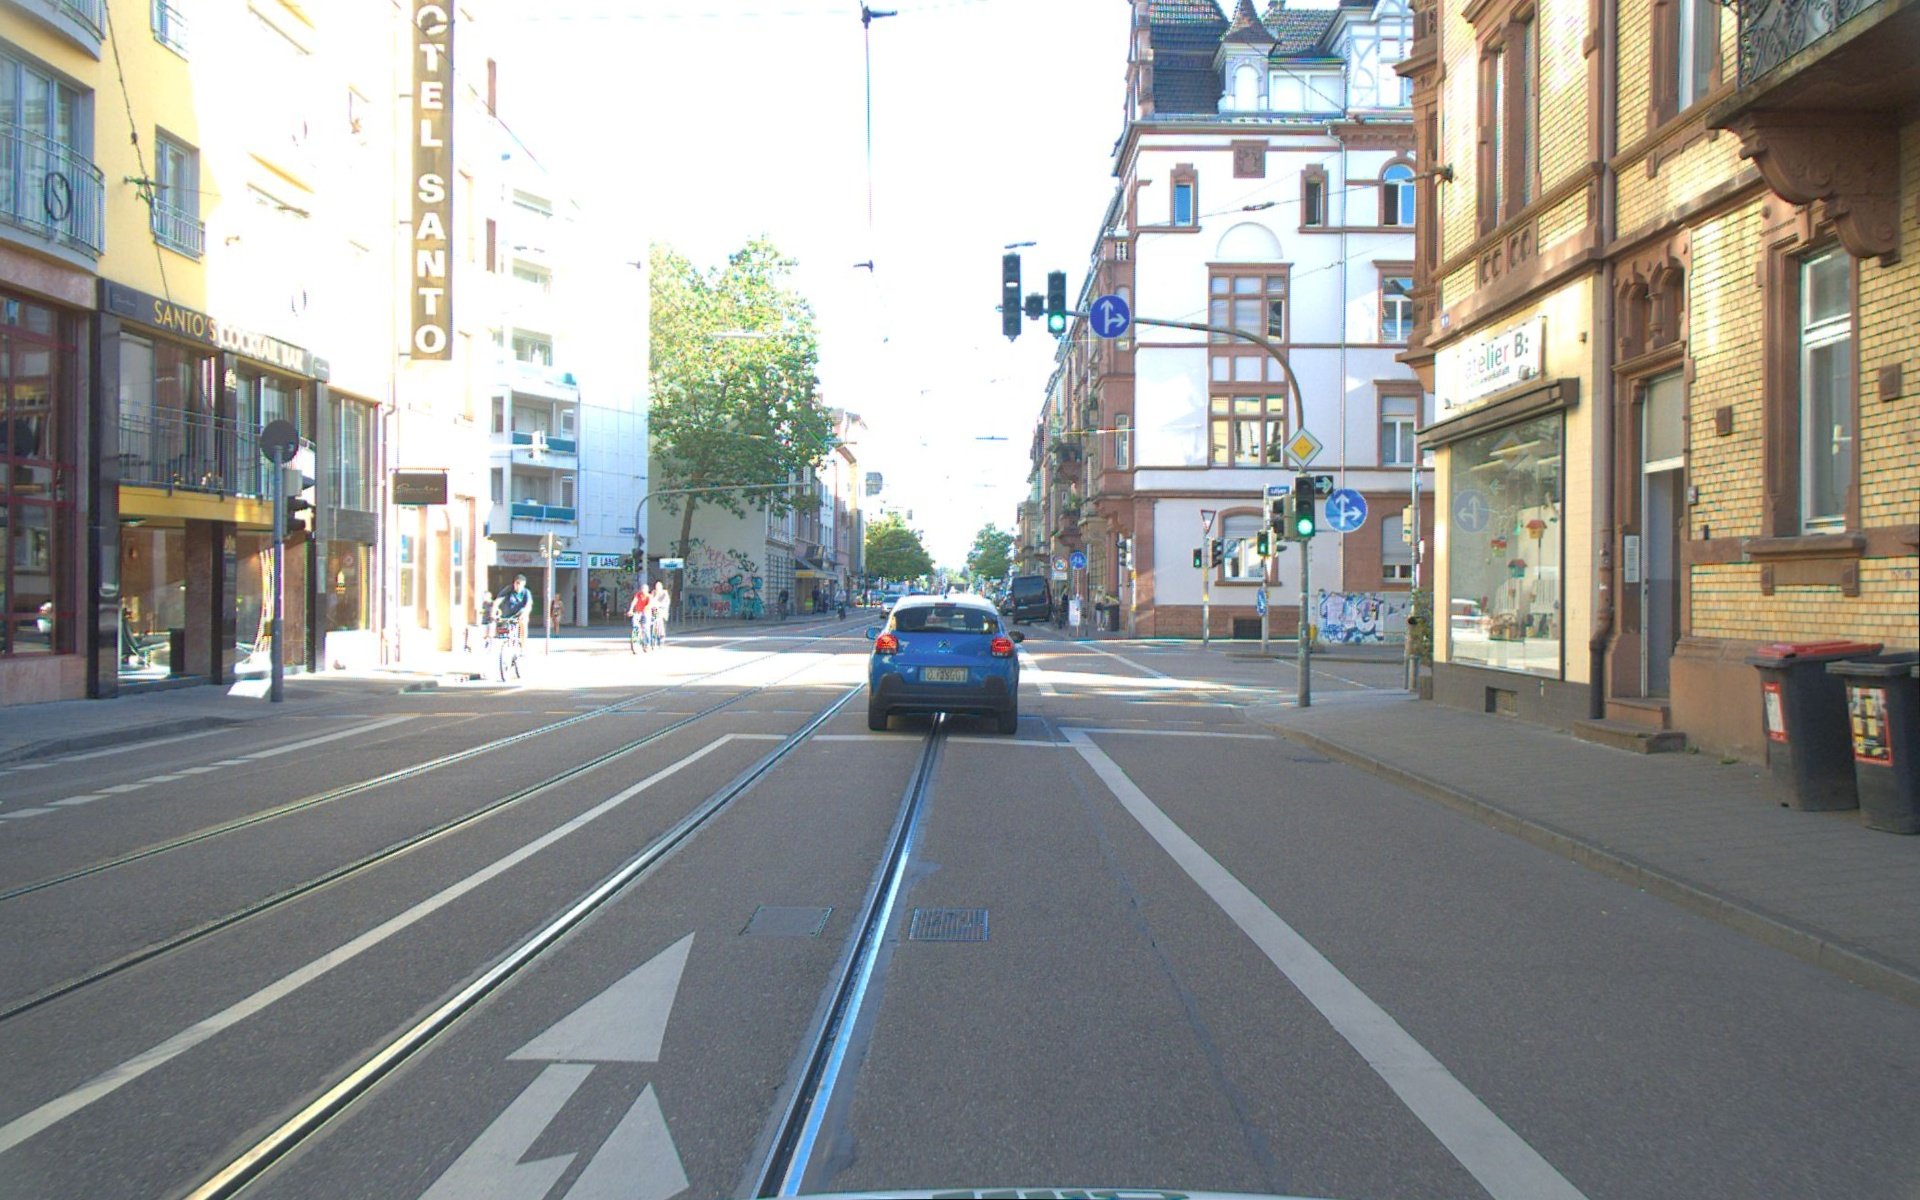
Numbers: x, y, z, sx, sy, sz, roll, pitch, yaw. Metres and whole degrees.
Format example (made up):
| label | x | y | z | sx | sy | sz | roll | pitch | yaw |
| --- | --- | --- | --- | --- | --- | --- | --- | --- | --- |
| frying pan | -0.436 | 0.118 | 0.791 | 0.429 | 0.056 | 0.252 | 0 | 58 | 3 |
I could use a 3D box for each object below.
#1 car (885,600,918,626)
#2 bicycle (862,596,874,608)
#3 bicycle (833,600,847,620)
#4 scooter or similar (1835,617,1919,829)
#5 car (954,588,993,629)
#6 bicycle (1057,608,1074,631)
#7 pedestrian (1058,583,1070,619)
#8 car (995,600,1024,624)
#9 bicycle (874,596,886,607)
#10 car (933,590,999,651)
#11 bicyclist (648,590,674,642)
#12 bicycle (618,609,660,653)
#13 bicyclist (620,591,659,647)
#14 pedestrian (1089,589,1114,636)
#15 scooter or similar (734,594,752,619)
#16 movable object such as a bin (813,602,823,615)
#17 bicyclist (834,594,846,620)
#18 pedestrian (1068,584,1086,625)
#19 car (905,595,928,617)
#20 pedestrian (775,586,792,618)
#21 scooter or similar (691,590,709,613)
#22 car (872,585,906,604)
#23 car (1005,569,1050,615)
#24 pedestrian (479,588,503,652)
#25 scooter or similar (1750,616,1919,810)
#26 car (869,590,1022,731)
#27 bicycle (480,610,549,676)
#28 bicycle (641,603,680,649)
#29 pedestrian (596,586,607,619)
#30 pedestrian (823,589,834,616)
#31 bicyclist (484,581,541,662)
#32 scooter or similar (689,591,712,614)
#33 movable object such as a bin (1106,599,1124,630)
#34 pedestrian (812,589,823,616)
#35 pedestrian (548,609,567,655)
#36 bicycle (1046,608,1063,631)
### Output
| label | x | y | z | sx | sy | sz | roll | pitch | yaw |
| --- | --- | --- | --- | --- | --- | --- | --- | --- | --- |
| car | -3.579 | 0.782 | 101.400 | 1.945 | 1.528 | 4.308 | 0 | 0 | -1 |
| bicycle | -10.165 | 0.183 | 182.556 | 1.099 | 1.342 | 3.640 | 0 | 0 | -5 |
| bicycle | -6.909 | 0.564 | 95.293 | 0.678 | 1.140 | 2.083 | 0 | 0 | -1 |
| scooter or similar | 5.866 | 0.695 | 9.825 | 0.914 | 1.168 | 0.650 | -4 | 0 | -2 |
| car | 0.679 | 0.426 | 85.647 | 1.953 | 2.049 | 3.999 | 0 | 0 | -1 |
| bicycle | 4.492 | 0.827 | 70.612 | 0.423 | 0.964 | 1.761 | 0 | 0 | -7 |
| pedestrian | 5.990 | 0.042 | 95.285 | 0.573 | 2.049 | 0.823 | 0 | 0 | -1 |
| car | 3.513 | 0.833 | 118.283 | 1.964 | 1.702 | 4.805 | 0 | 0 | 0 |
| bicycle | -8.814 | 0.147 | 182.493 | 1.099 | 1.166 | 3.640 | 0 | 0 | -5 |
| car | 0.117 | 0.500 | 43.113 | 1.633 | 1.504 | 3.999 | 0 | 0 | -1 |
| bicyclist | -8.164 | 0.438 | 45.171 | 0.578 | 1.400 | 0.679 | 0 | 0 | -1 |
| bicycle | -8.189 | 0.772 | 42.278 | 0.716 | 1.084 | 2.061 | 0 | 0 | -1 |
| bicyclist | -8.191 | 0.479 | 42.307 | 0.720 | 1.405 | 1.468 | 0 | 0 | -1 |
| pedestrian | 5.706 | 0.497 | 66.592 | 0.692 | 1.811 | 0.672 | -8 | 0 | -1 |
| scooter or similar | -11.901 | 0.337 | 90.756 | 0.772 | 1.294 | 1.075 | 2 | 1 | -1 |
| movable object such as a bin | -9.580 | 0.576 | 111.899 | 0.598 | 0.930 | 0.695 | 0 | 0 | 0 |
| bicyclist | -6.922 | 0.399 | 95.369 | 0.668 | 1.509 | 0.778 | 0 | 0 | -1 |
| pedestrian | 5.008 | 0.176 | 70.713 | 0.615 | 1.731 | 0.681 | 0 | 0 | -9 |
| car | -3.683 | 0.495 | 140.800 | 1.953 | 1.774 | 4.562 | 0 | 0 | -1 |
| pedestrian | -9.841 | 0.105 | 92.374 | 0.668 | 1.796 | 1.026 | 0 | 0 | 11 |
| scooter or similar | -14.275 | 0.091 | 90.873 | 0.921 | 1.243 | 0.765 | 0 | 0 | -12 |
| car | -9.948 | -0.823 | 231.152 | 4.255 | 2.626 | 2.191 | 0 | 0 | -26 |
| car | 3.685 | -0.425 | 90.929 | 2.225 | 2.479 | 5.719 | 0 | 0 | 0 |
| pedestrian | -10.539 | 0.446 | 37.205 | 0.395 | 1.435 | 0.516 | 0 | 0 | -1 |
| scooter or similar | 5.817 | 0.727 | 10.899 | 0.879 | 1.168 | 0.547 | -4 | 0 | -2 |
| car | -0.234 | 0.639 | 19.692 | 1.640 | 1.503 | 3.998 | 0 | 0 | -2 |
| bicycle | -7.991 | 0.753 | 29.754 | 0.716 | 1.107 | 2.061 | 0 | 0 | -1 |
| bicycle | -8.147 | 0.695 | 45.009 | 0.716 | 1.204 | 2.061 | 0 | 0 | -1 |
| pedestrian | -19.322 | 0.147 | 89.190 | 0.446 | 1.748 | 0.547 | 0 | 0 | -1 |
| pedestrian | -8.834 | 0.178 | 111.231 | 0.696 | 1.795 | 0.654 | 0 | 0 | -2 |
| bicyclist | -7.985 | 0.378 | 29.554 | 0.709 | 1.405 | 1.227 | 0 | 0 | -1 |
| scooter or similar | -14.035 | 0.134 | 89.357 | 1.206 | 1.280 | 0.765 | 0 | 0 | -12 |
| movable object such as a bin | 6.082 | 0.564 | 64.859 | 0.652 | 1.174 | 0.594 | 0 | 0 | 1 |
| pedestrian | -9.609 | 0.156 | 111.172 | 0.696 | 1.795 | 0.570 | 0 | 0 | -1 |
| pedestrian | -13.982 | 1.121 | 57.435 | 0.531 | 1.579 | 0.516 | 0 | 0 | -2 |
| bicycle | 4.013 | 0.819 | 70.539 | 0.423 | 0.964 | 1.761 | 0 | 0 | -7 |
